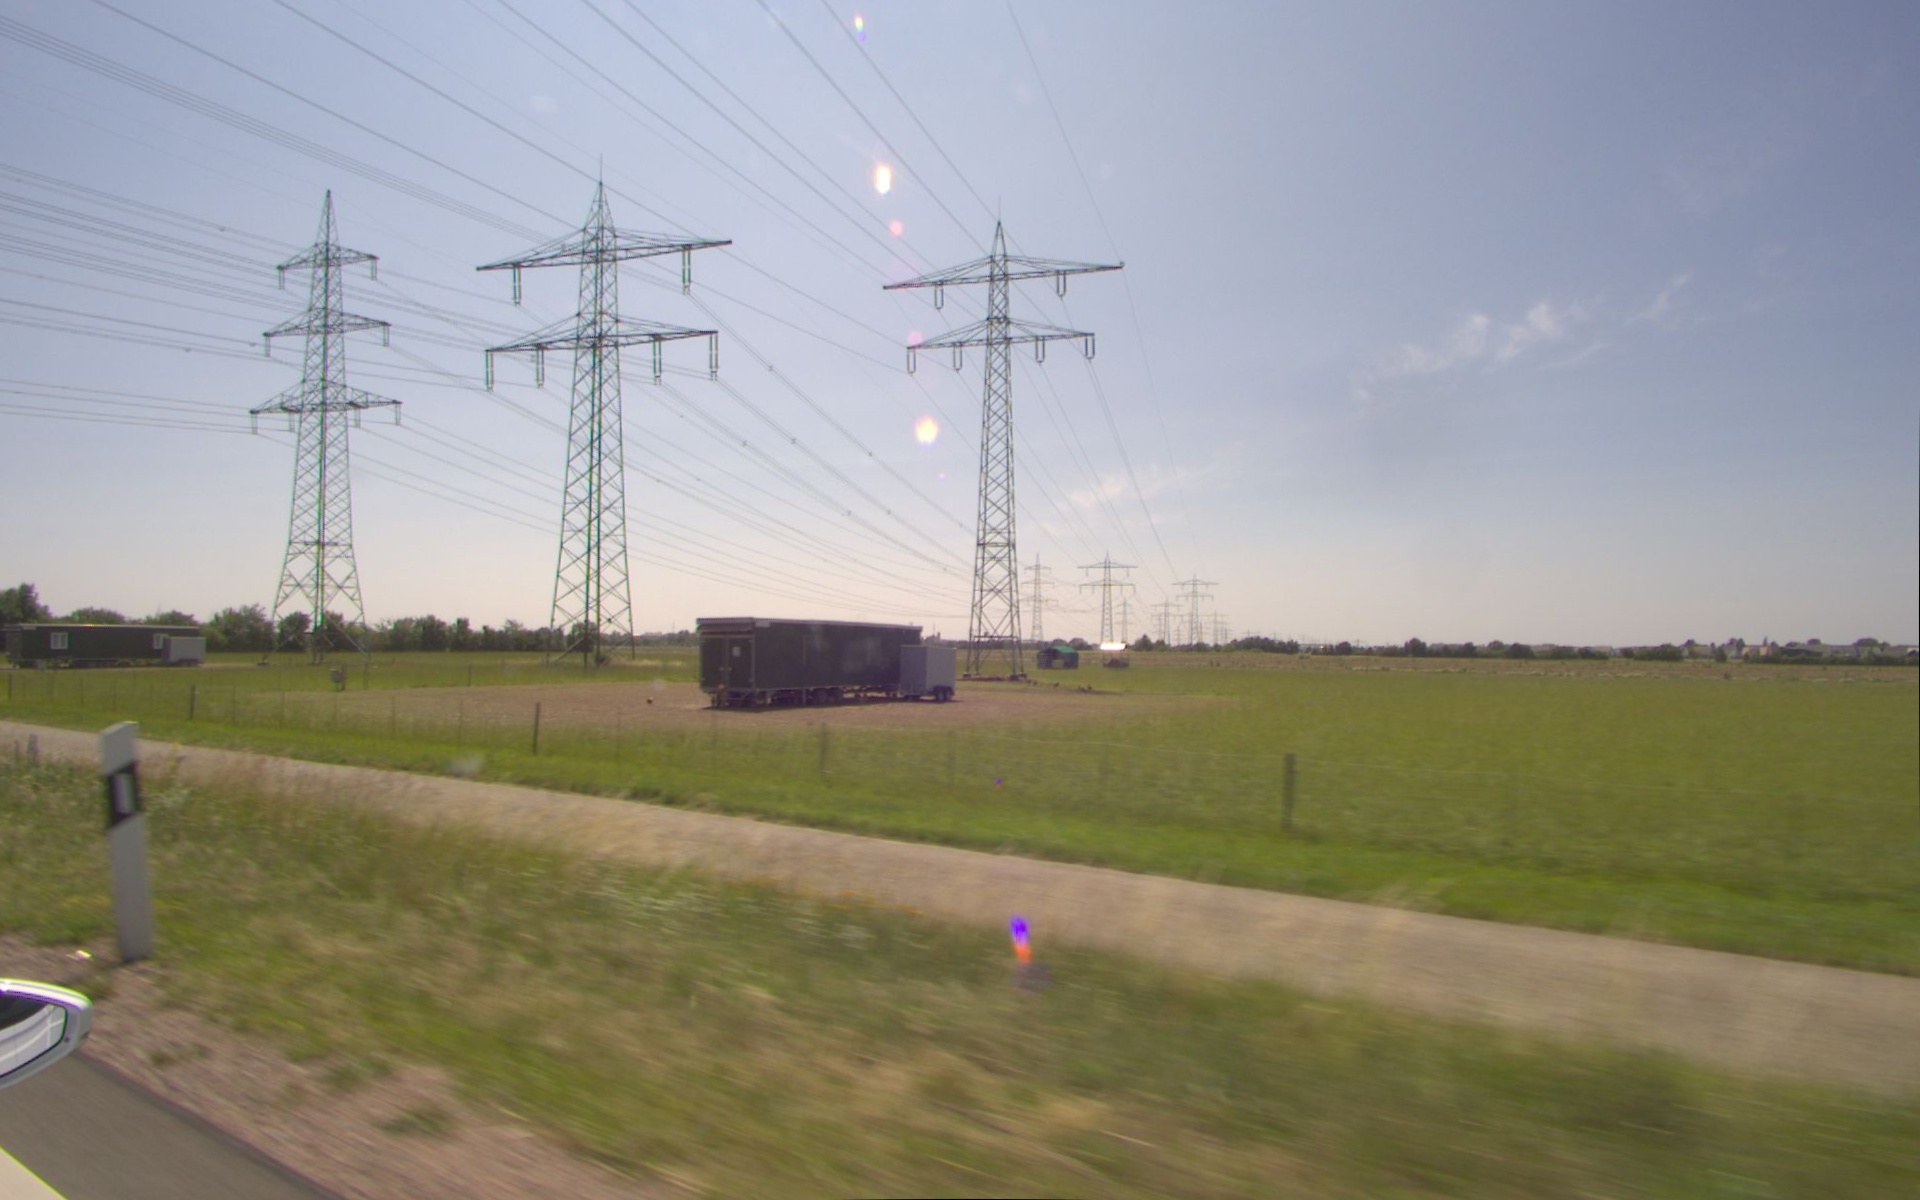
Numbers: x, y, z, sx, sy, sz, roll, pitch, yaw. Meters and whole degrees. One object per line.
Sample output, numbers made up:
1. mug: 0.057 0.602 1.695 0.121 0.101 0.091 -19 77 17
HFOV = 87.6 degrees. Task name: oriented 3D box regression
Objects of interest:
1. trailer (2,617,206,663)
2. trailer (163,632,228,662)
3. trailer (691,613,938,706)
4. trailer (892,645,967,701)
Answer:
1. trailer: -71.128 3.389 83.719 3.747 3.516 12.407 0 -3 29
2. trailer: -66.090 4.078 86.601 1.968 2.473 3.988 0 -3 27
3. trailer: -5.846 2.578 44.538 3.227 3.518 13.499 0 -3 30
4. trailer: -1.391 3.368 46.702 2.007 2.493 3.404 0 -2 30
